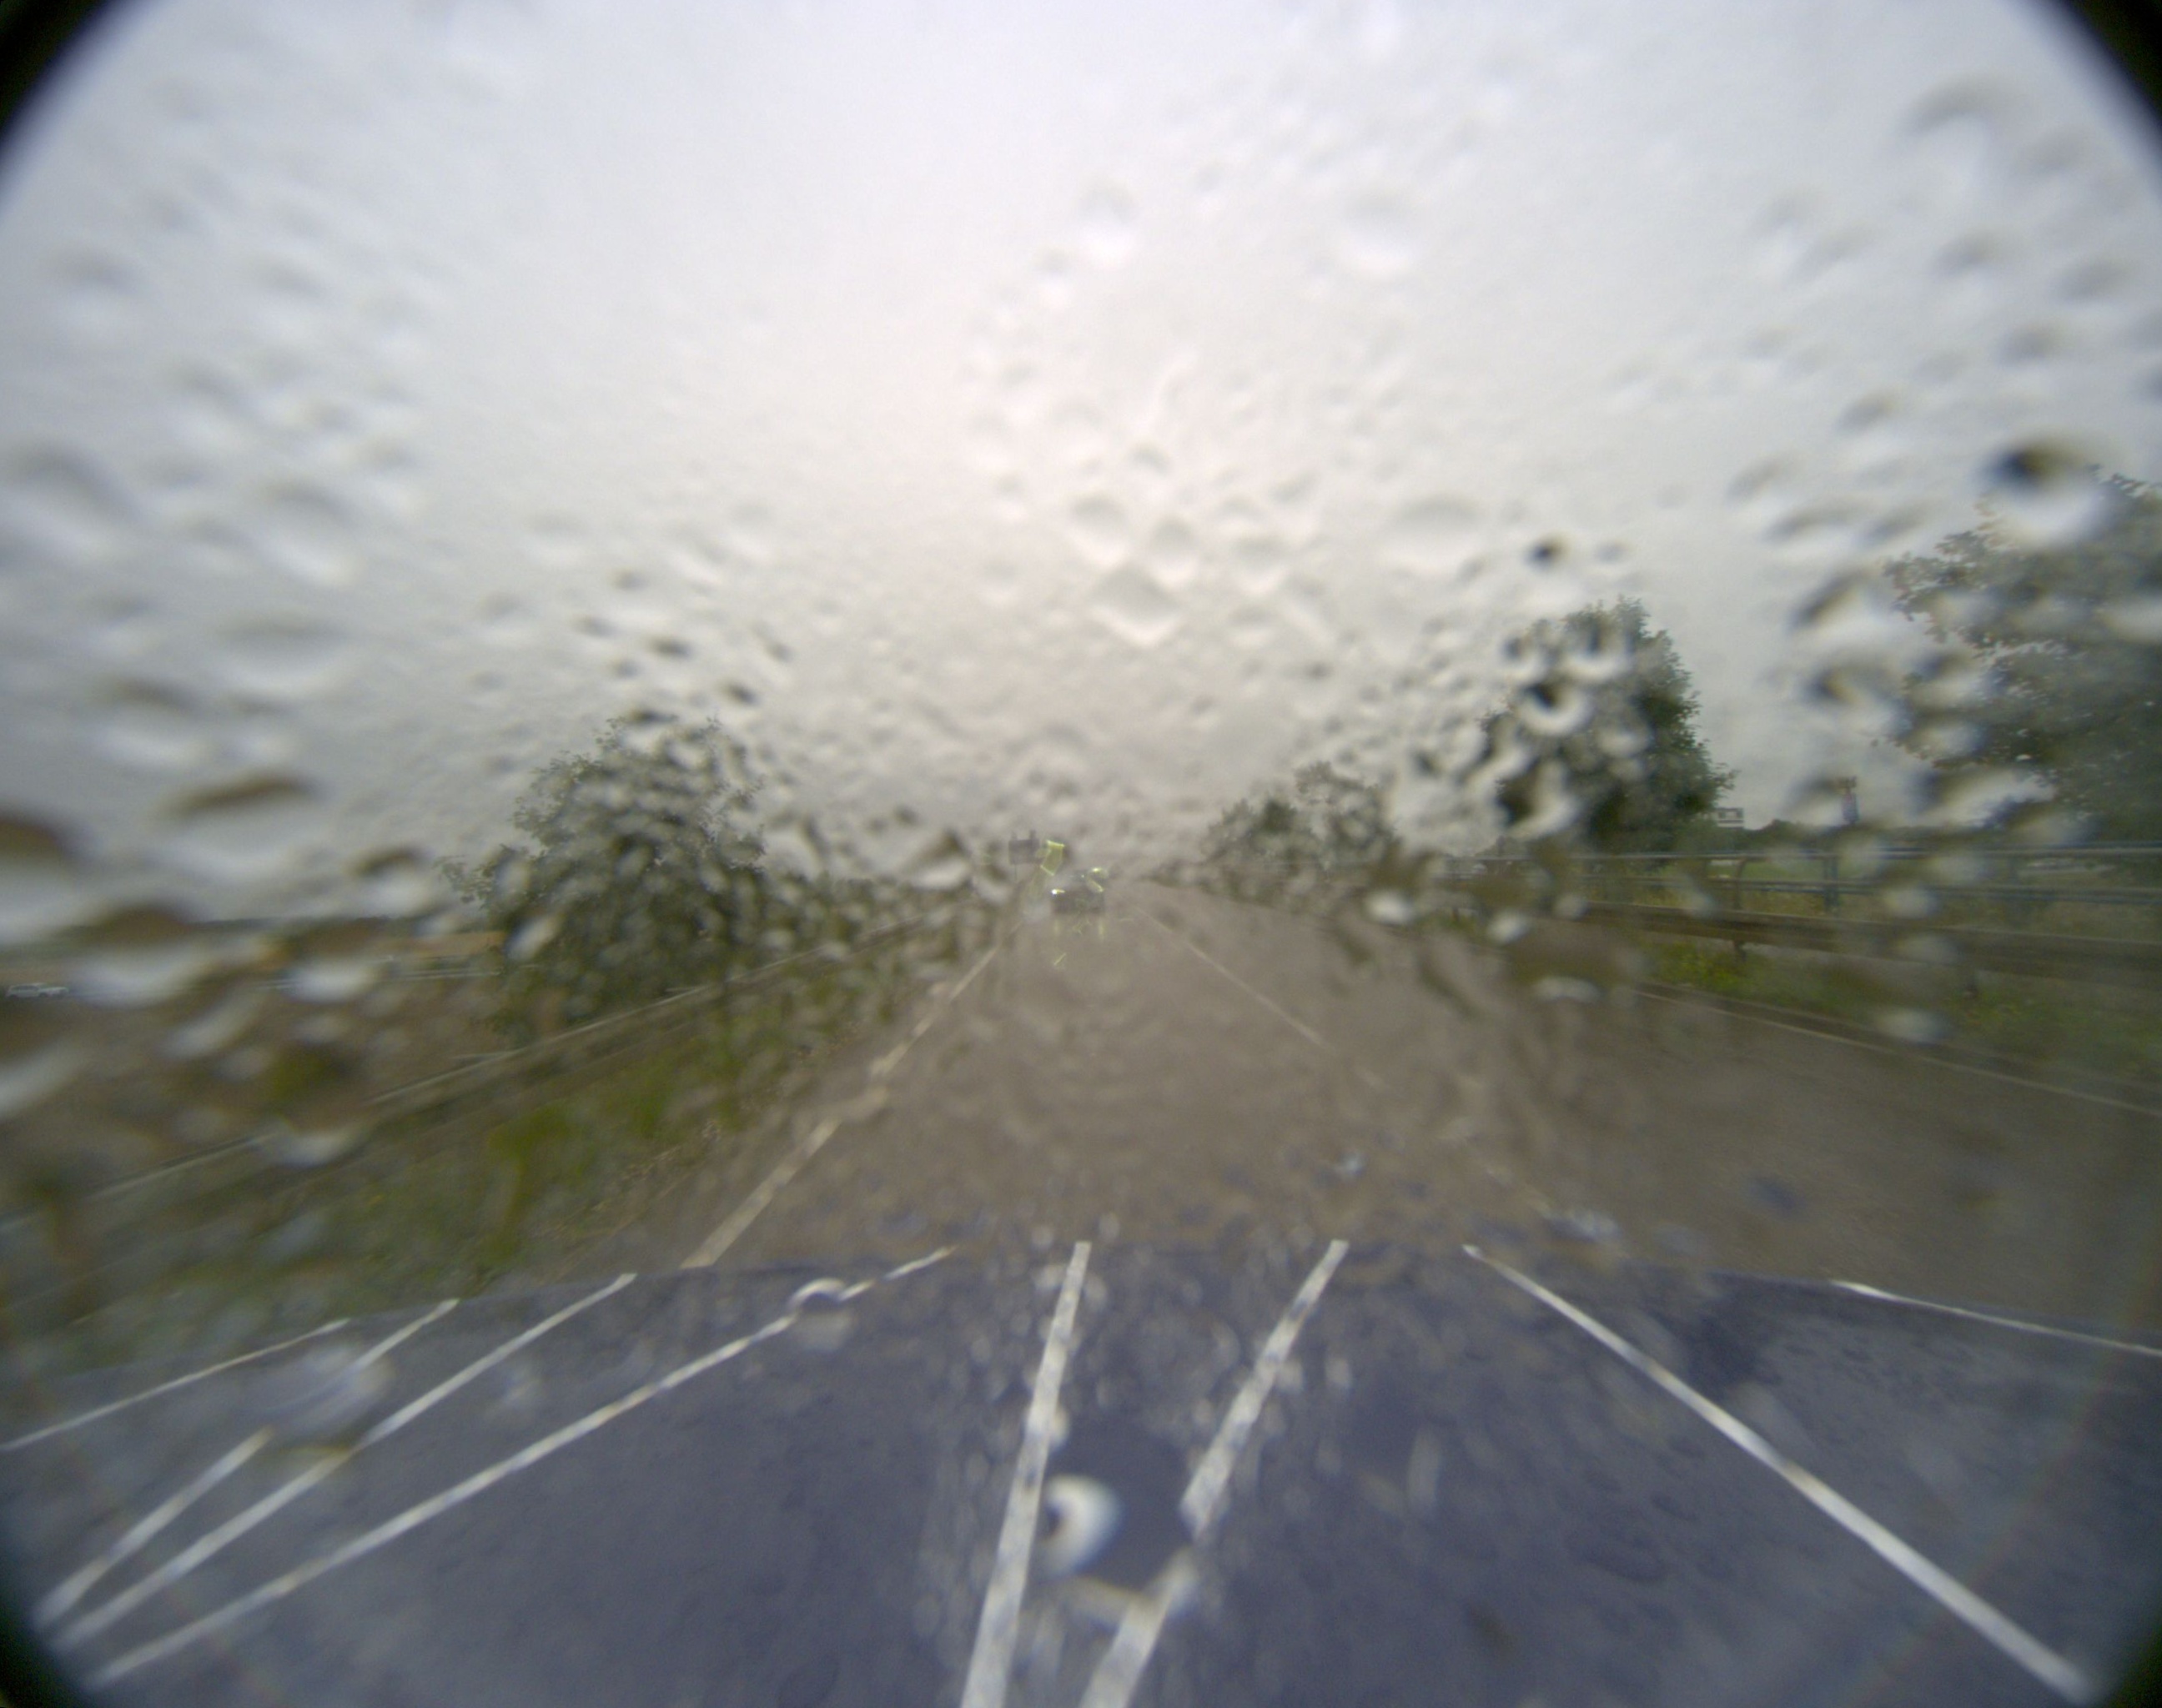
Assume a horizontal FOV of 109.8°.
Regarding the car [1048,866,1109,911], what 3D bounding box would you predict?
[{"bbox_3d":[-0.116,1.143,26.533,1.909,1.361,4.565,-3,-1,-1],"label":"car"}]
